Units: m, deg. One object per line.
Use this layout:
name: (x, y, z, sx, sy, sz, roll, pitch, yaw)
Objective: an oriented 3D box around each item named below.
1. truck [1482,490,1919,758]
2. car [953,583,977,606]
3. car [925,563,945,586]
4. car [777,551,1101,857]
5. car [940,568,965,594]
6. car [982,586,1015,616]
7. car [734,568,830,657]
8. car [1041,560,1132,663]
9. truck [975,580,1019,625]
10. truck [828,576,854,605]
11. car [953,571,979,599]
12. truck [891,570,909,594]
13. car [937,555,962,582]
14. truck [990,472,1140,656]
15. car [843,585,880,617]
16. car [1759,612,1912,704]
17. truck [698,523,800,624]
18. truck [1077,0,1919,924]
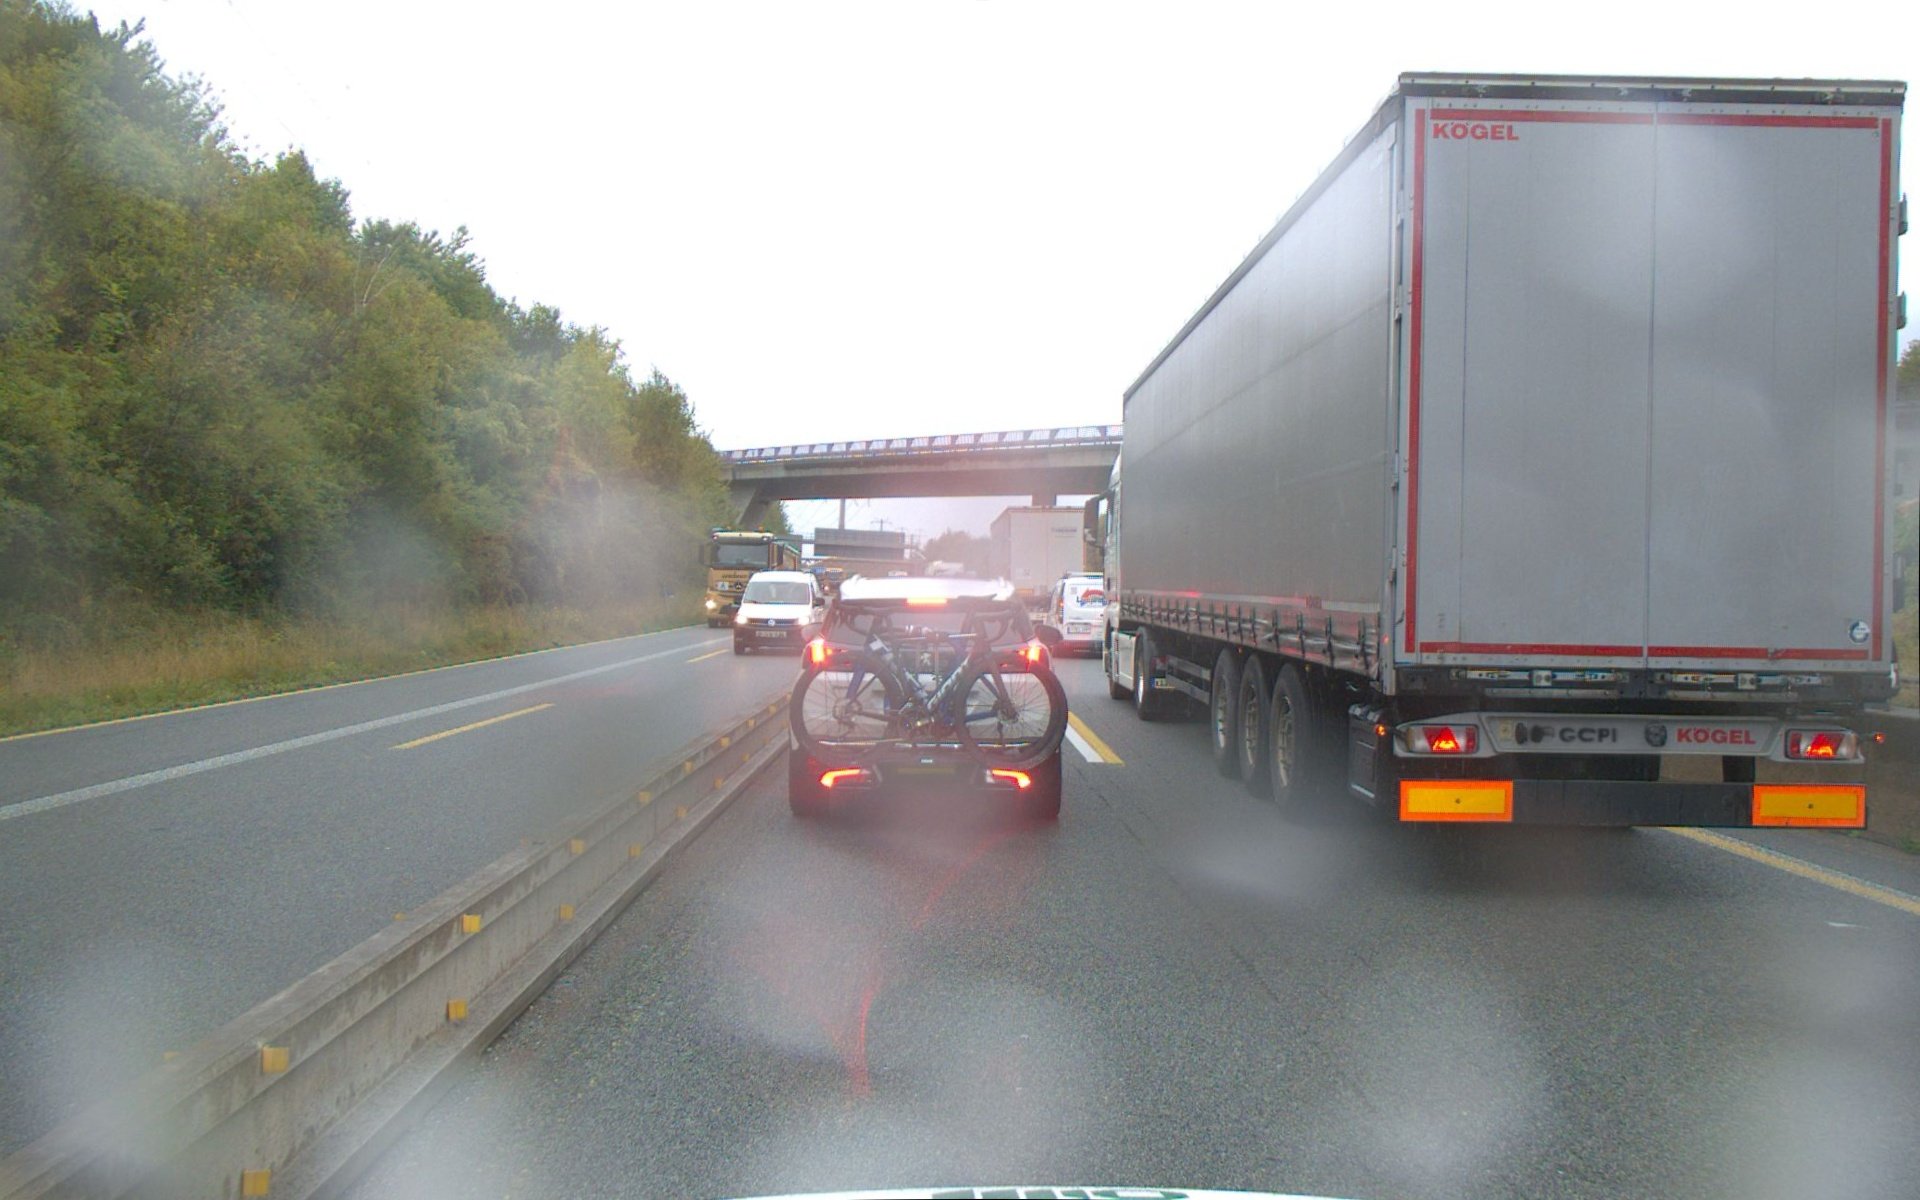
truck: (10.405, 0.286, 24.373, 2.469, 3.186, 9.117, 1, 0, 0)
car: (0.344, -0.364, 111.842, 1.605, 1.524, 3.666, 1, 0, 0)
car: (-2.469, -2.544, 164.160, 1.953, 2.164, 4.526, 1, 0, 0)
car: (-0.079, 0.574, 11.464, 1.773, 1.666, 4.636, 1, 0, 1)
car: (-0.613, -1.555, 136.807, 1.953, 2.049, 4.000, 1, 0, 0)
car: (1.959, 0.043, 85.553, 1.605, 1.524, 3.666, 1, 0, 0)
car: (-3.931, 0.258, 37.193, 1.773, 1.856, 4.634, 1, 0, -2)
car: (2.857, 0.247, 38.197, 1.636, 2.218, 4.533, 1, 0, -1)
truck: (1.721, 0.099, 77.730, 1.953, 2.049, 4.000, 1, 0, 0)
truck: (-16.143, -1.250, 224.681, 2.626, 3.720, 12.311, 1, 0, 0)
car: (0.429, -1.106, 125.250, 1.953, 2.049, 4.000, 1, 0, 0)
truck: (-8.812, -2.609, 244.530, 2.483, 3.411, 12.047, 1, 0, -1)
car: (-0.924, -2.855, 149.585, 2.193, 2.347, 4.571, 1, 0, 0)
truck: (3.517, -1.157, 62.718, 4.645, 5.772, 20.378, 1, 0, 1)
car: (-4.603, 0.050, 77.681, 1.652, 1.434, 3.929, 1, 0, -2)
car: (21.419, 1.373, 40.644, 1.693, 2.094, 4.125, 1, 0, 2)
truck: (-7.766, -0.918, 62.478, 2.483, 3.411, 12.047, 1, 0, -1)
truck: (3.953, -1.463, 17.539, 3.898, 5.772, 20.374, 1, 0, 0)
